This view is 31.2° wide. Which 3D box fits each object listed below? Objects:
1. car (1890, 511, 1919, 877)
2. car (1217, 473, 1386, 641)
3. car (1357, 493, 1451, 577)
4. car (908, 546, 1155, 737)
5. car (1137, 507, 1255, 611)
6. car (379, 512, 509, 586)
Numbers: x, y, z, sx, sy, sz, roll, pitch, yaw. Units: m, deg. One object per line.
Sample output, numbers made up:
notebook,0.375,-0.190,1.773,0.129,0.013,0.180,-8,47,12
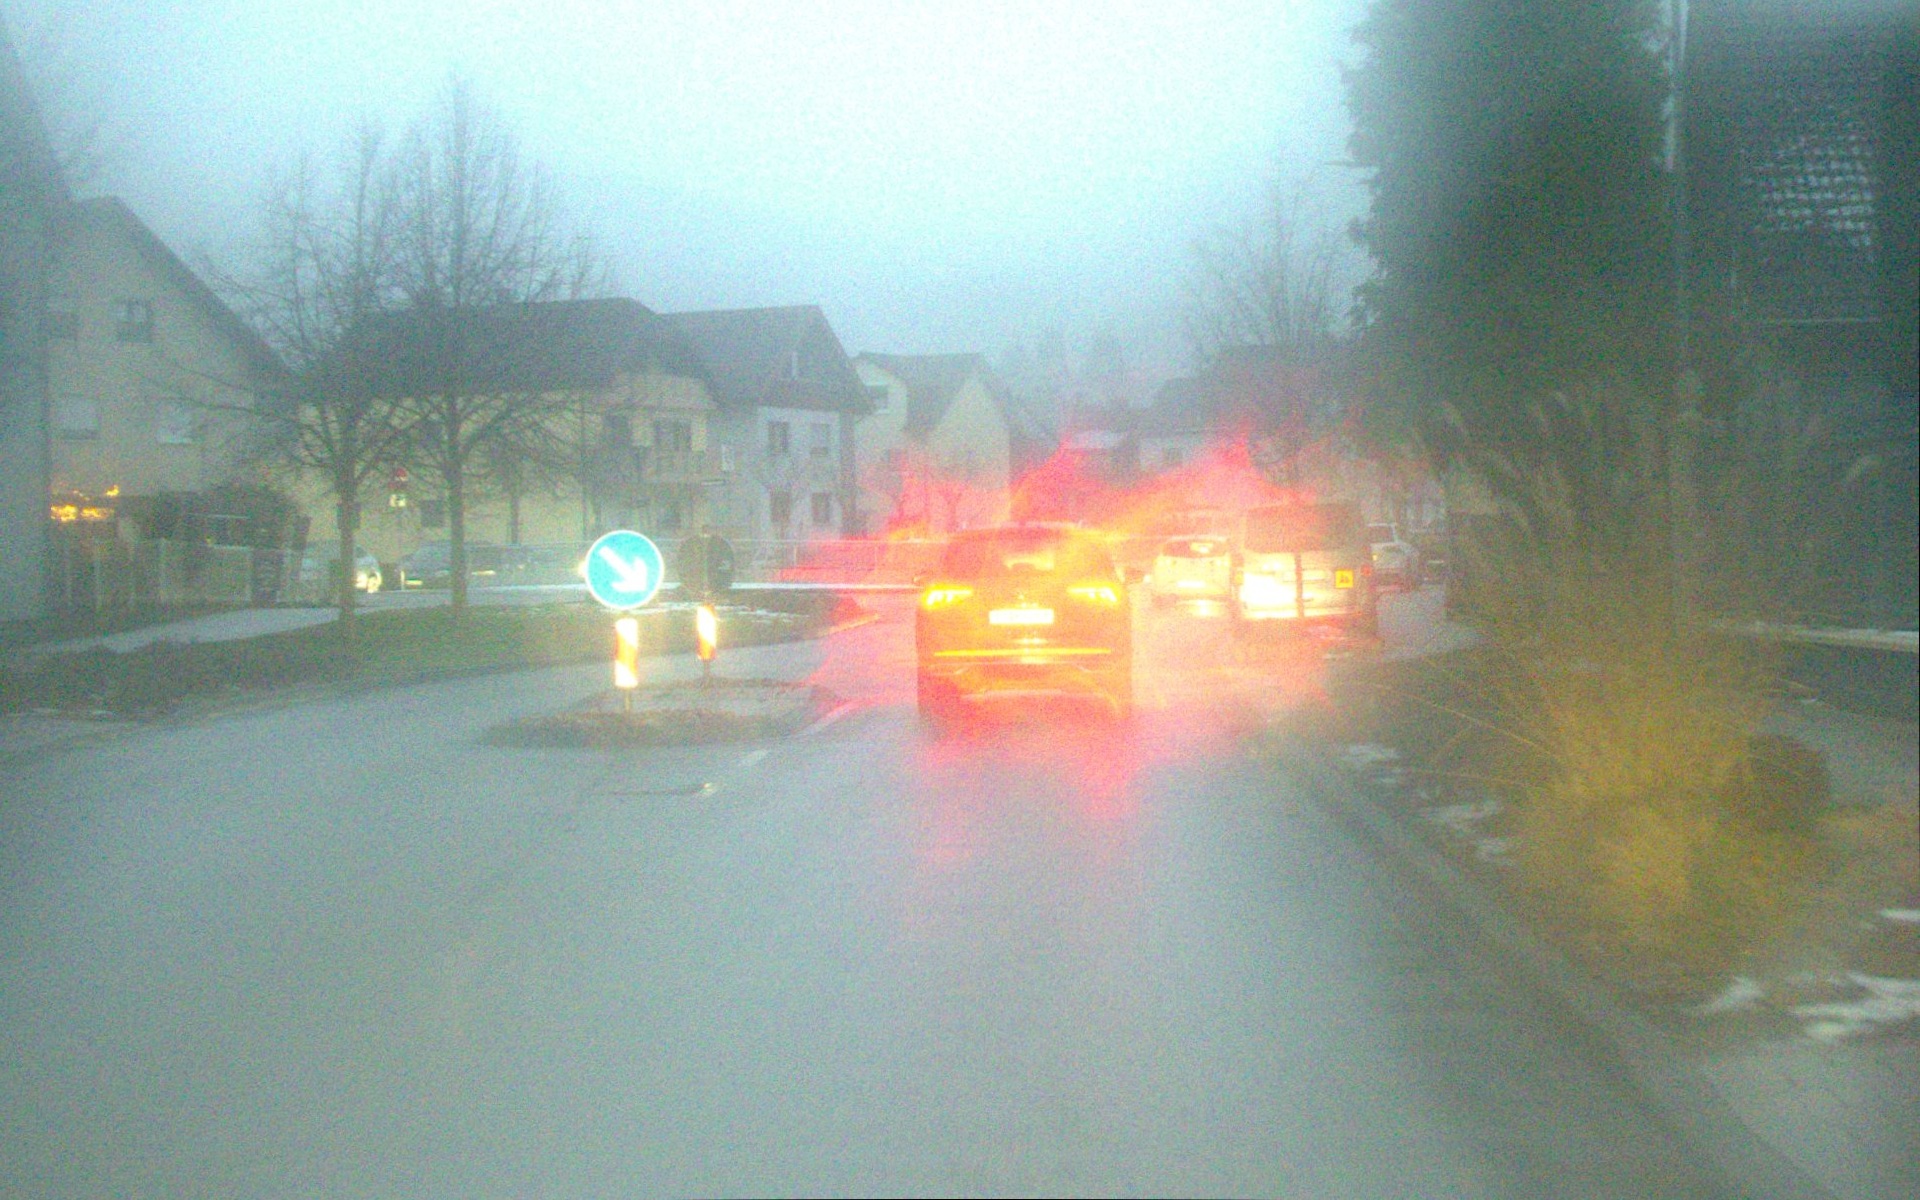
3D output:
car,2.923,0.526,5.965,1.649,1.534,3.390,-5,1,1
car,4.507,-0.619,46.131,1.978,2.006,5.745,-3,1,4
car,10.395,-1.542,80.305,1.746,1.779,4.334,-3,1,12
car,0.598,0.311,30.007,1.993,1.520,4.000,-1,1,0
car,4.741,-0.818,68.557,1.994,2.007,3.999,0,1,9
car,-14.620,-1.466,97.559,1.995,2.006,3.996,1,2,19
